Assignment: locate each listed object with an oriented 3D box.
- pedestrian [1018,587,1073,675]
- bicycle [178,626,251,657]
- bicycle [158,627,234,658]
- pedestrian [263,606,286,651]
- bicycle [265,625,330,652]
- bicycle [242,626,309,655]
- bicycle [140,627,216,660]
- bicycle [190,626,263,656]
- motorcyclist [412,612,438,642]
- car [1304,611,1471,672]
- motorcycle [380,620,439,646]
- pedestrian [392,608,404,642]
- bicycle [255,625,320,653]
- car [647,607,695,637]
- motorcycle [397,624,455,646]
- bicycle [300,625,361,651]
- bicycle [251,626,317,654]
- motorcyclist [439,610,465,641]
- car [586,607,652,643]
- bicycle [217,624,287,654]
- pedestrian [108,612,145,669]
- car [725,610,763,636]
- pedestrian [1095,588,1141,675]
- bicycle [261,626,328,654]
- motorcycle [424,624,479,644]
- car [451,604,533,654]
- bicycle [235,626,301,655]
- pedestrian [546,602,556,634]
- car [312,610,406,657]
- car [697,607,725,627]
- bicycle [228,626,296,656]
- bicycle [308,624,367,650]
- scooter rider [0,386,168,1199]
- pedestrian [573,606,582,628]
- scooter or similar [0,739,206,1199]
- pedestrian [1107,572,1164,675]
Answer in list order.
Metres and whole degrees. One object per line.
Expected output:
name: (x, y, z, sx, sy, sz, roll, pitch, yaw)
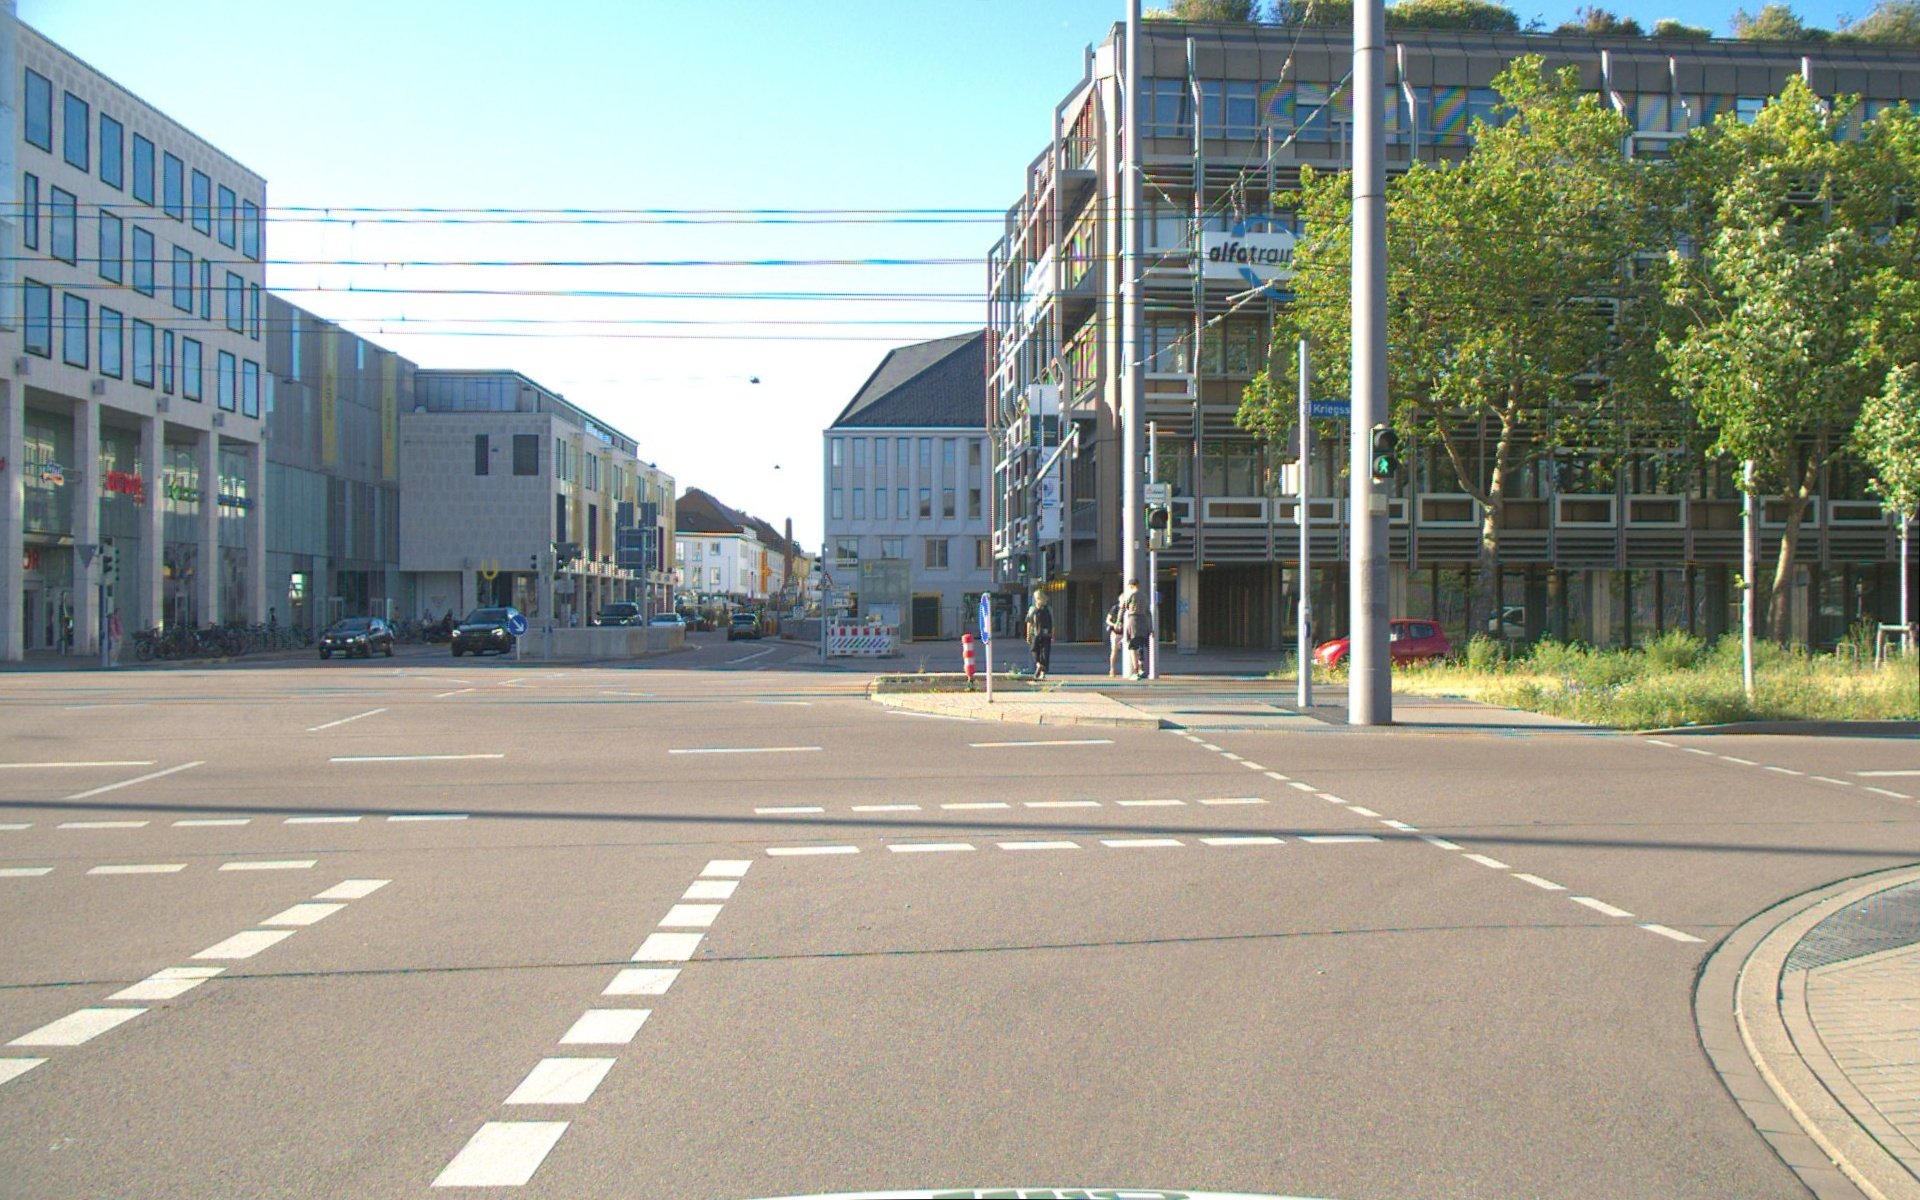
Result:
pedestrian: (1.569, 0.551, 30.341, 0.878, 1.576, 0.923, 0, 1, -6)
bicycle: (-27.413, 1.534, 60.827, 2.416, 1.130, 0.684, 0, 0, 3)
bicycle: (-27.471, 1.526, 59.463, 2.417, 1.130, 0.684, 0, 0, 1)
pedestrian: (-31.013, 1.301, 74.802, 0.933, 2.017, 1.000, 1, -1, -23)
bicycle: (-28.048, 1.632, 70.026, 2.416, 1.130, 0.835, 0, 0, 2)
bicycle: (-27.406, 1.619, 66.212, 2.416, 1.130, 0.684, 0, 0, 1)
bicycle: (-27.462, 1.523, 58.116, 2.353, 1.132, 0.658, 0, 0, 0)
bicycle: (-27.311, 1.525, 61.635, 2.416, 1.130, 0.684, 0, 0, 1)
motorcyclist: (-27.133, 1.355, 83.888, 1.016, 1.497, 0.915, 2, -1, -6)
car: (11.061, 1.094, 42.949, 3.790, 1.512, 1.845, 0, -3, -3)
motorcycle: (-27.134, 1.628, 81.540, 2.616, 1.239, 0.915, 2, -1, -7)
pedestrian: (-34.943, 1.548, 102.871, 0.605, 2.049, 0.476, 2, -1, -14)
bicycle: (-27.970, 1.623, 68.773, 2.416, 1.130, 0.684, 0, 0, 1)
car: (-17.006, 1.326, 97.645, 2.131, 1.722, 5.611, 0, -1, -3)
motorcycle: (-27.063, 1.763, 83.903, 2.616, 1.013, 0.915, 2, -1, -7)
bicycle: (-27.919, 1.669, 73.368, 2.416, 1.130, 0.835, 0, 0, 2)
bicycle: (-27.375, 1.616, 66.986, 2.416, 1.130, 0.684, 0, 0, 1)
motorcyclist: (-26.809, 1.366, 87.369, 1.115, 1.602, 0.915, 2, -1, -6)
car: (-16.951, 1.269, 82.426, 2.129, 1.722, 5.486, 0, -1, 0)
bicycle: (-27.141, 1.485, 63.424, 2.416, 1.130, 0.684, 0, 0, 1)
pedestrian: (-25.953, 1.252, 51.508, 0.735, 1.770, 0.756, 0, -1, -2)
car: (-12.750, 1.379, 97.852, 1.898, 1.475, 4.259, 0, -1, -3)
pedestrian: (3.614, 0.713, 37.939, 0.991, 1.944, 1.051, 0, 0, 1)
bicycle: (-27.333, 1.623, 67.927, 2.416, 1.130, 0.835, 0, 0, 2)
motorcycle: (-26.843, 1.799, 87.349, 2.616, 1.013, 0.915, 2, -1, -7)
car: (-16.374, 1.005, 58.046, 1.899, 1.707, 4.291, 0, -1, -4)
bicycle: (-27.441, 1.612, 65.579, 2.416, 1.130, 0.537, 0, 0, 1)
pedestrian: (-26.252, 1.142, 106.174, 0.605, 2.049, 0.476, 2, -1, -14)
car: (-21.562, 1.167, 59.511, 1.898, 1.608, 4.293, 0, 0, -1)
car: (-24.260, 1.694, 161.040, 2.131, 1.906, 5.611, 0, -1, -3)
bicycle: (-27.411, 1.607, 64.986, 2.416, 1.130, 0.593, 0, 0, 1)
bicycle: (-27.904, 1.666, 74.178, 2.416, 1.130, 0.660, 0, 0, 1)
scooter rider: (-1.768, 0.458, 2.468, 0.629, 1.571, 1.116, 1, 0, -2)
pedestrian: (-25.124, 1.112, 108.648, 0.479, 1.380, 0.563, 2, -1, -5)
scooter or similar: (-1.770, 0.868, 2.466, 0.629, 1.196, 1.483, 1, 0, -2)
pedestrian: (3.045, 0.398, 28.691, 0.839, 1.774, 0.738, 0, 0, -7)
